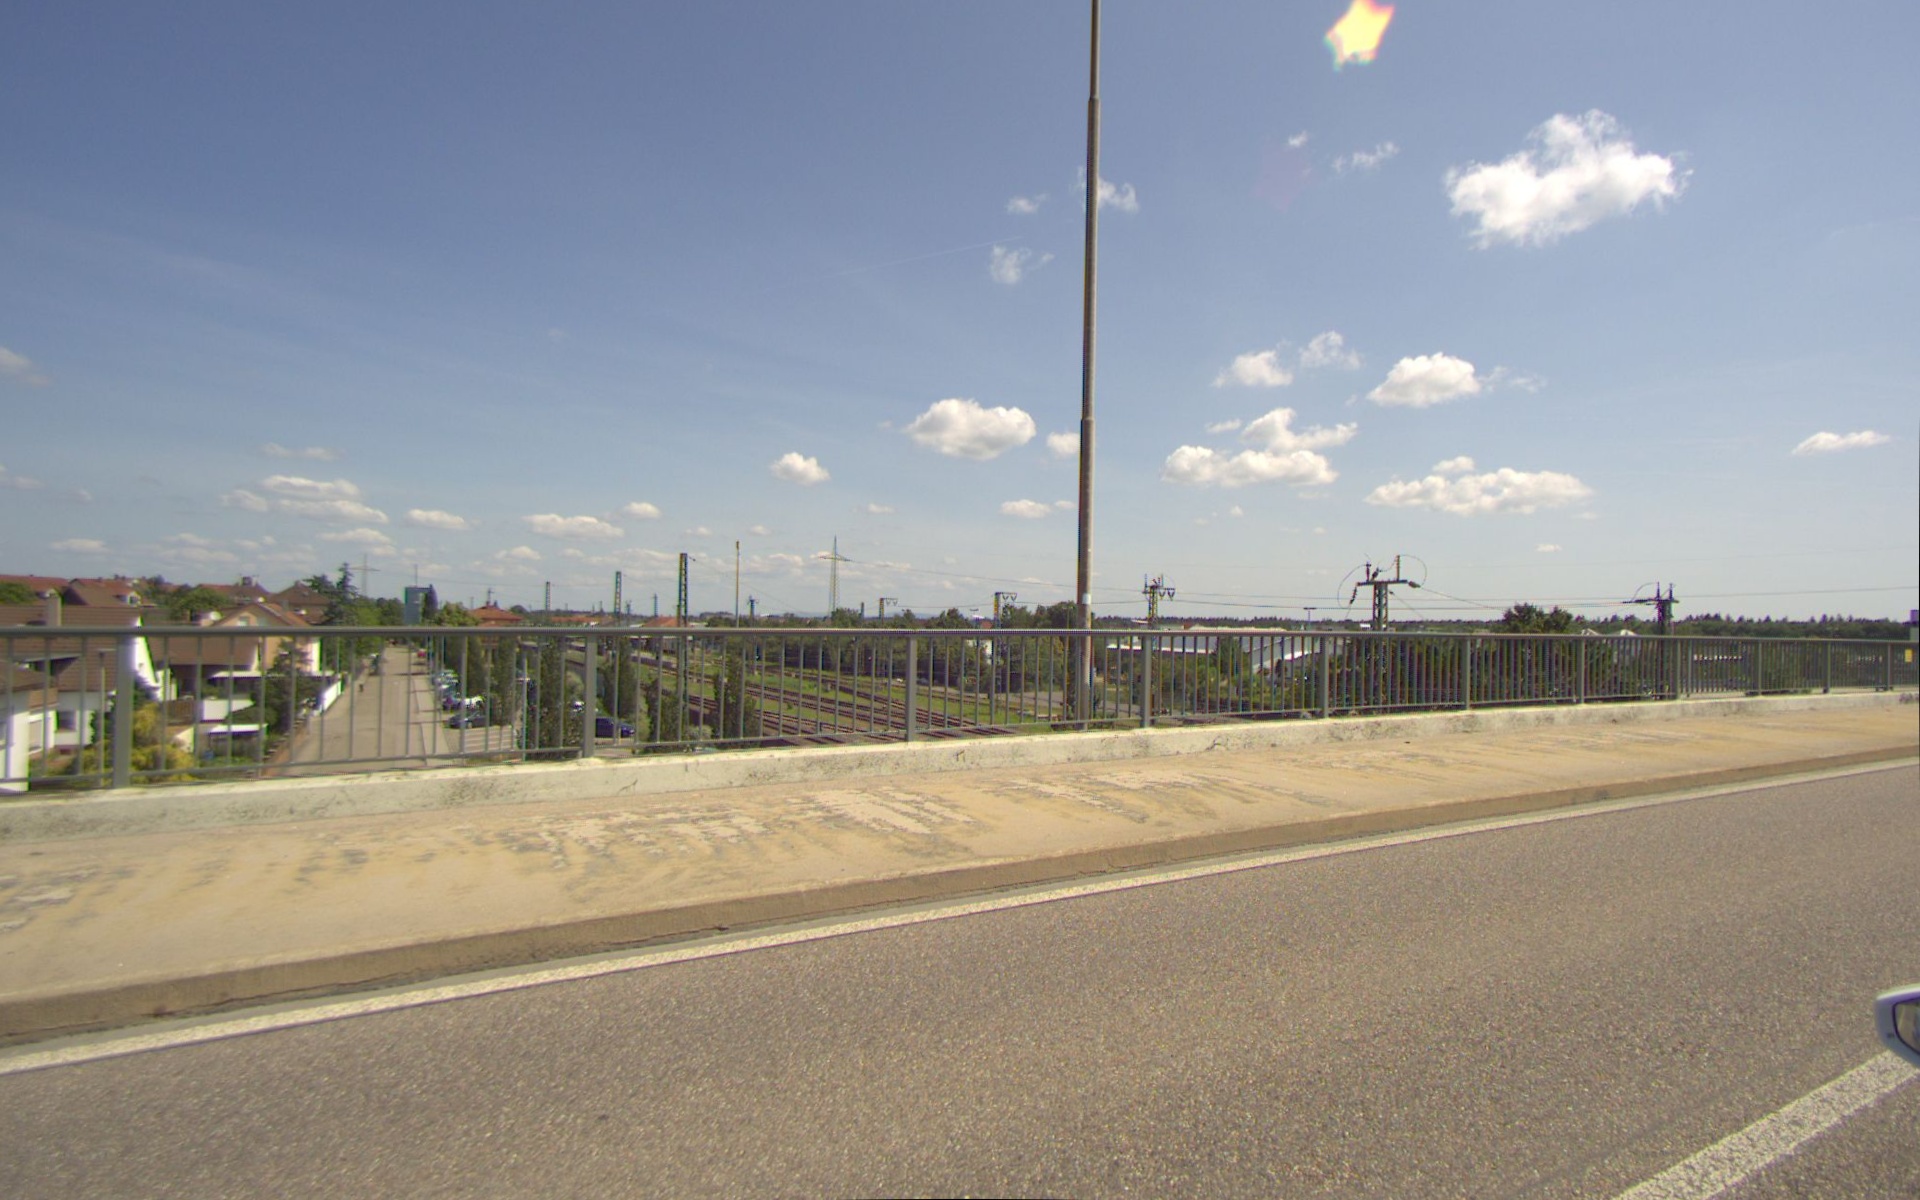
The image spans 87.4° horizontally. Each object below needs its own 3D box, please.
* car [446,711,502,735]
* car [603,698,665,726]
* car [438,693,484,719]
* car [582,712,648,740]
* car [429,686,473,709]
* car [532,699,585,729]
[{"bbox_3d":[-38.841,9.825,80.368,1.837,1.461,3.617,1,-1,44],"label":"car"},{"bbox_3d":[-27.833,9.556,85.816,4.766,2.041,1.996,1,2,-10],"label":"car"},{"bbox_3d":[-48.089,10.170,96.792,1.959,2.040,4.003,1,0,10],"label":"car"},{"bbox_3d":[-27.968,10.216,81.486,4.530,1.622,2.208,4,3,-4],"label":"car"},{"bbox_3d":[-53.279,10.151,105.201,1.959,2.040,4.002,1,0,12],"label":"car"},{"bbox_3d":[-35.030,9.927,87.673,3.920,2.041,2.000,3,3,18],"label":"car"}]
